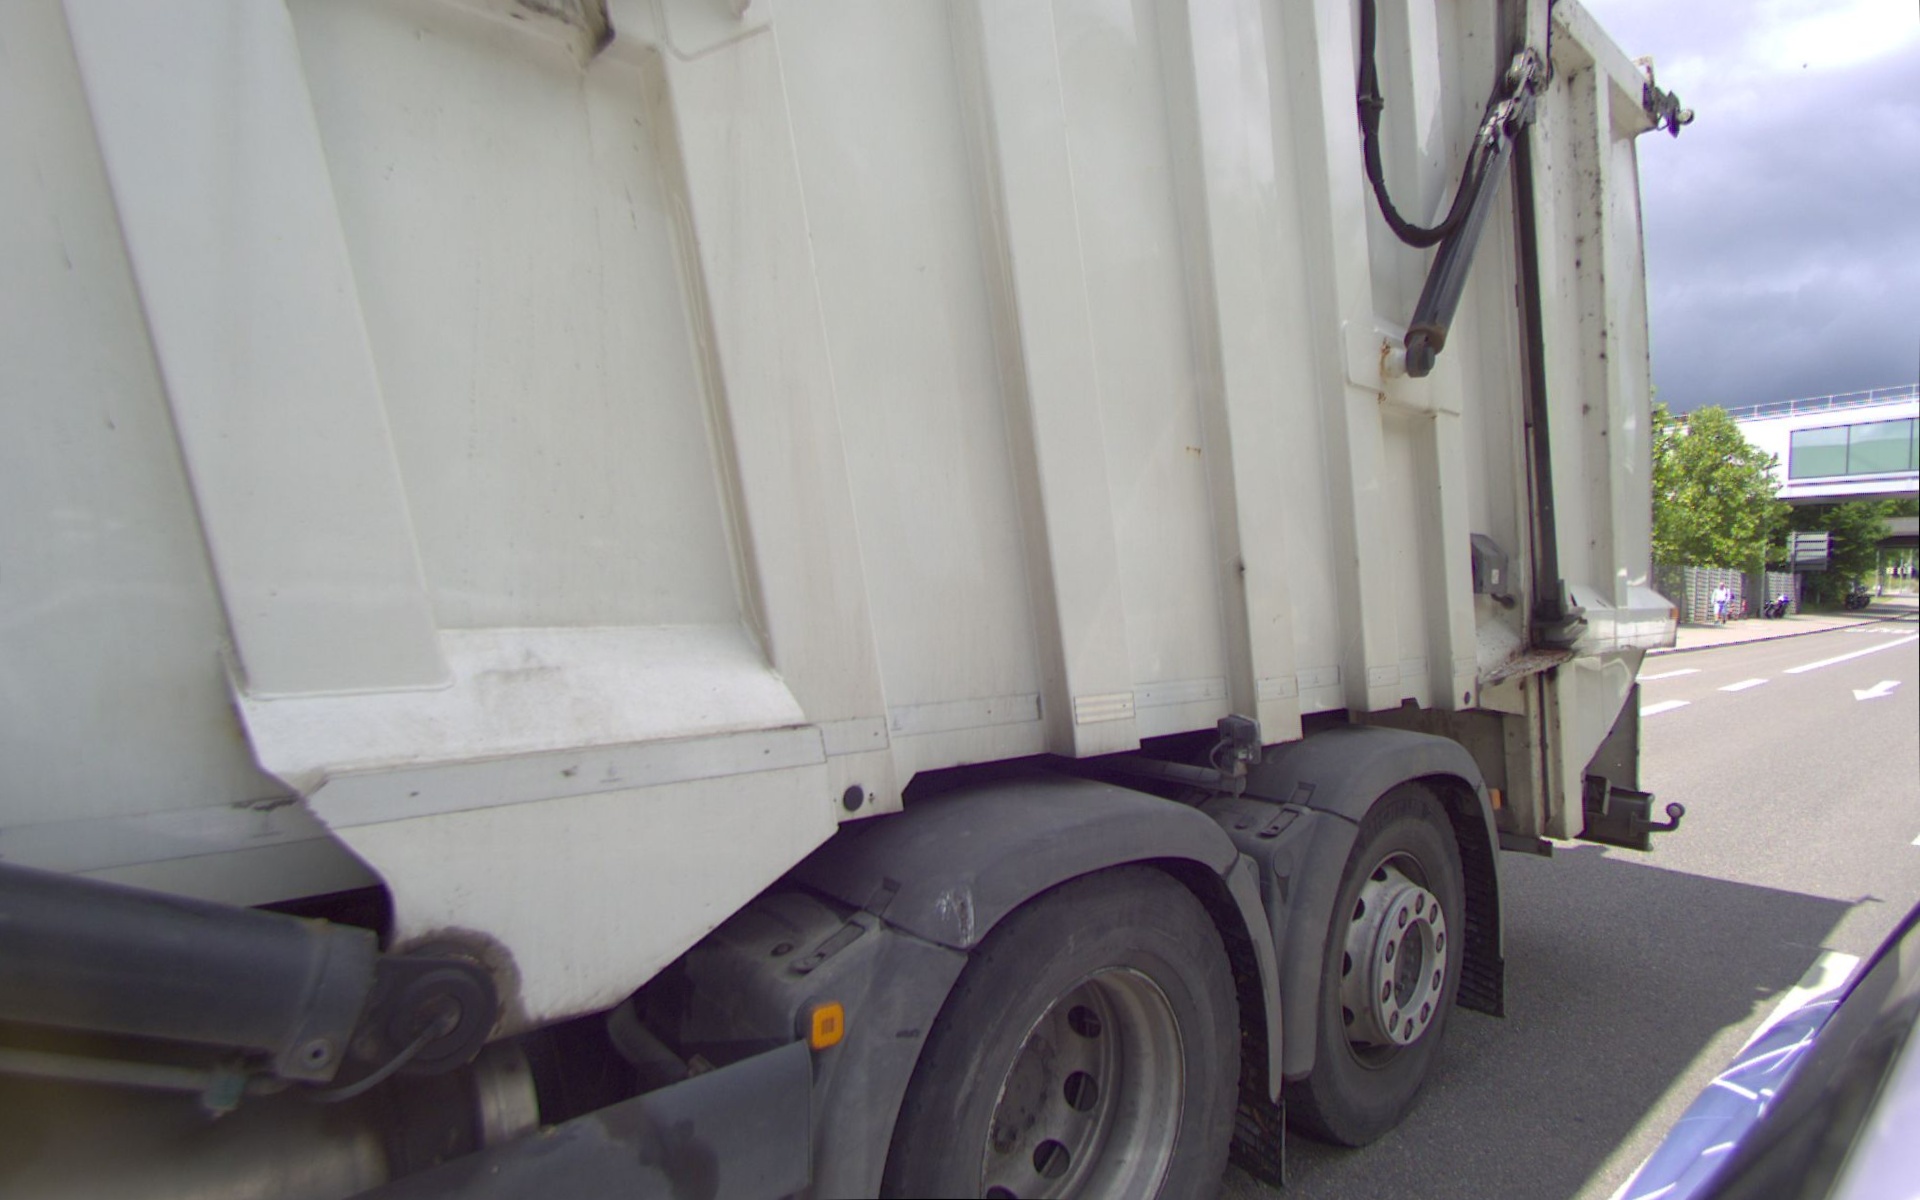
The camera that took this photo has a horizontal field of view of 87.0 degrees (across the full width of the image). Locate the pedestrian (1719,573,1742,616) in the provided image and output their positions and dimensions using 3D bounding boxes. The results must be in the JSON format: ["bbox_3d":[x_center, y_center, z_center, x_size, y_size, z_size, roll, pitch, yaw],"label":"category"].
[{"bbox_3d":[34.917,-0.260,45.870,0.648,1.936,0.737,0,0,-45],"label":"pedestrian"}]

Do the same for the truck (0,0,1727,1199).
[{"bbox_3d":[-0.876,-0.546,2.431,9.999,3.962,2.492,-1,0,-42],"label":"truck"}]
